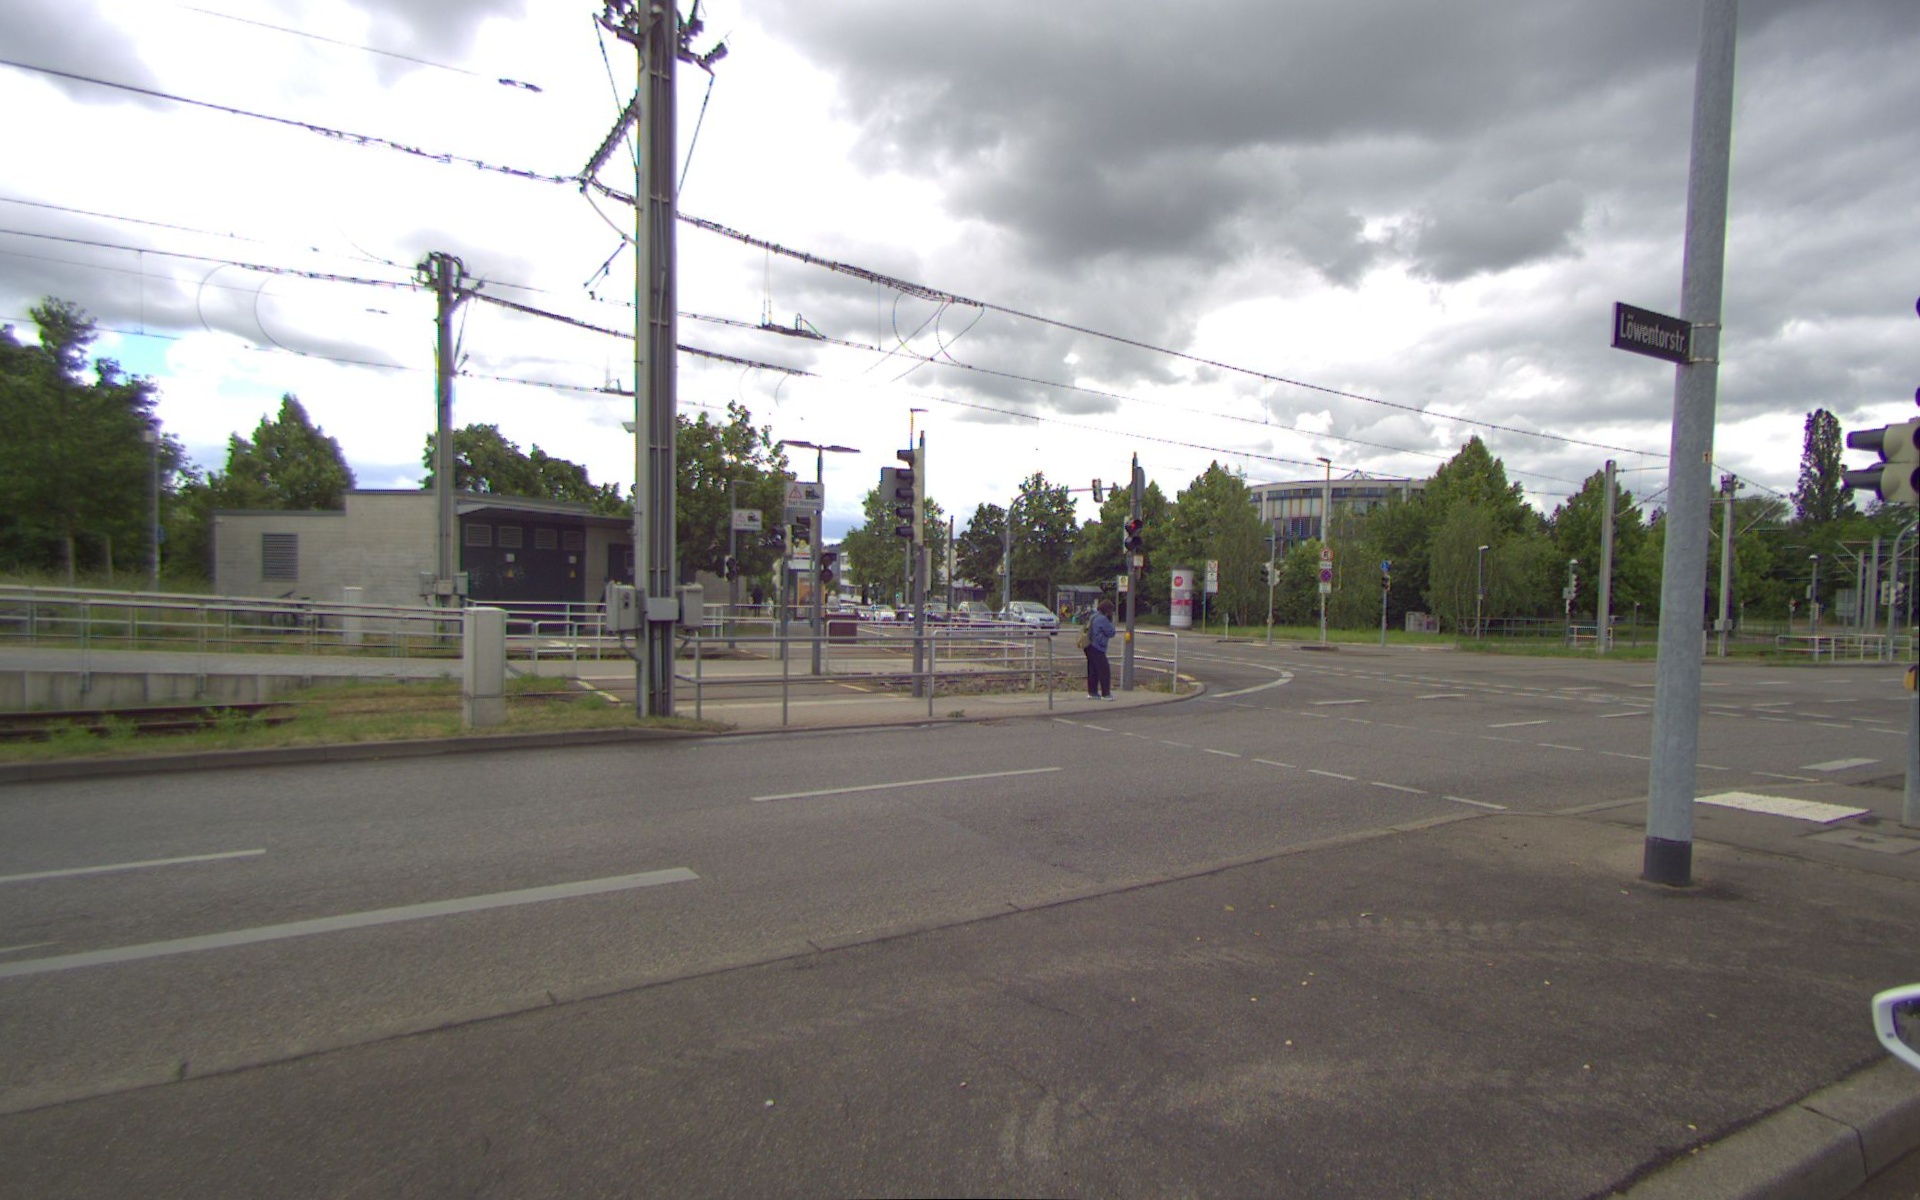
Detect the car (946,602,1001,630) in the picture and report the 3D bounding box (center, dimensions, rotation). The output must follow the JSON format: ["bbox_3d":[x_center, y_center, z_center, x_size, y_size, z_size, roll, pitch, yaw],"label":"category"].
[{"bbox_3d":[0.686,0.848,53.666,1.706,1.456,3.731,1,0,-20],"label":"car"}]

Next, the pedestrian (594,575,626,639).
[{"bbox_3d":[-9.152,0.181,26.242,0.697,1.628,0.653,1,0,-28],"label":"pedestrian"}]

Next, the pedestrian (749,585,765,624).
[{"bbox_3d":[-10.617,0.223,52.547,0.738,1.993,0.795,1,0,-9],"label":"pedestrian"}]

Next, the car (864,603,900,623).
[{"bbox_3d":[-5.816,0.968,74.778,1.706,1.456,3.731,1,0,-20],"label":"car"}]

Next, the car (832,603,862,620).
[{"bbox_3d":[-9.772,0.993,86.712,1.706,1.456,3.731,1,0,-20],"label":"car"}]

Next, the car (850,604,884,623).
[{"bbox_3d":[-7.421,1.029,79.681,1.706,1.456,3.991,1,0,-20],"label":"car"}]

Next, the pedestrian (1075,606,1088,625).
[{"bbox_3d":[8.651,1.077,71.561,0.652,1.322,0.780,1,0,-16],"label":"pedestrian"}]

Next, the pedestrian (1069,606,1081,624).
[{"bbox_3d":[8.346,1.086,72.925,0.652,1.321,0.780,1,0,-16],"label":"pedestrian"}]

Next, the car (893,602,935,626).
[{"bbox_3d":[-3.007,0.893,64.928,1.706,1.456,3.731,1,0,-20],"label":"car"}]

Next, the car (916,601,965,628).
[{"bbox_3d":[-1.153,0.821,58.162,1.706,1.456,3.731,1,0,-20],"label":"car"}]

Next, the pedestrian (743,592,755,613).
[{"bbox_3d":[-16.091,0.185,76.530,0.771,1.649,0.660,1,0,-22],"label":"pedestrian"}]

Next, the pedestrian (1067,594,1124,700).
[{"bbox_3d":[2.079,0.703,15.436,0.701,1.584,0.533,1,1,-44],"label":"pedestrian"}]

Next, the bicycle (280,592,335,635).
[{"bbox_3d":[-17.330,0.349,26.674,1.452,1.101,0.492,1,0,22],"label":"bicycle"}]

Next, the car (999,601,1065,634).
[{"bbox_3d":[3.299,0.803,46.806,1.706,1.456,3.731,1,0,-20],"label":"car"}]

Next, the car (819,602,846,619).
[{"bbox_3d":[-11.934,0.969,94.069,1.706,1.456,3.731,1,0,-20],"label":"car"}]

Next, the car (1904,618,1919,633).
[{"bbox_3d":[113.241,3.055,117.733,1.959,1.706,4.002,2,0,14],"label":"car"}]
